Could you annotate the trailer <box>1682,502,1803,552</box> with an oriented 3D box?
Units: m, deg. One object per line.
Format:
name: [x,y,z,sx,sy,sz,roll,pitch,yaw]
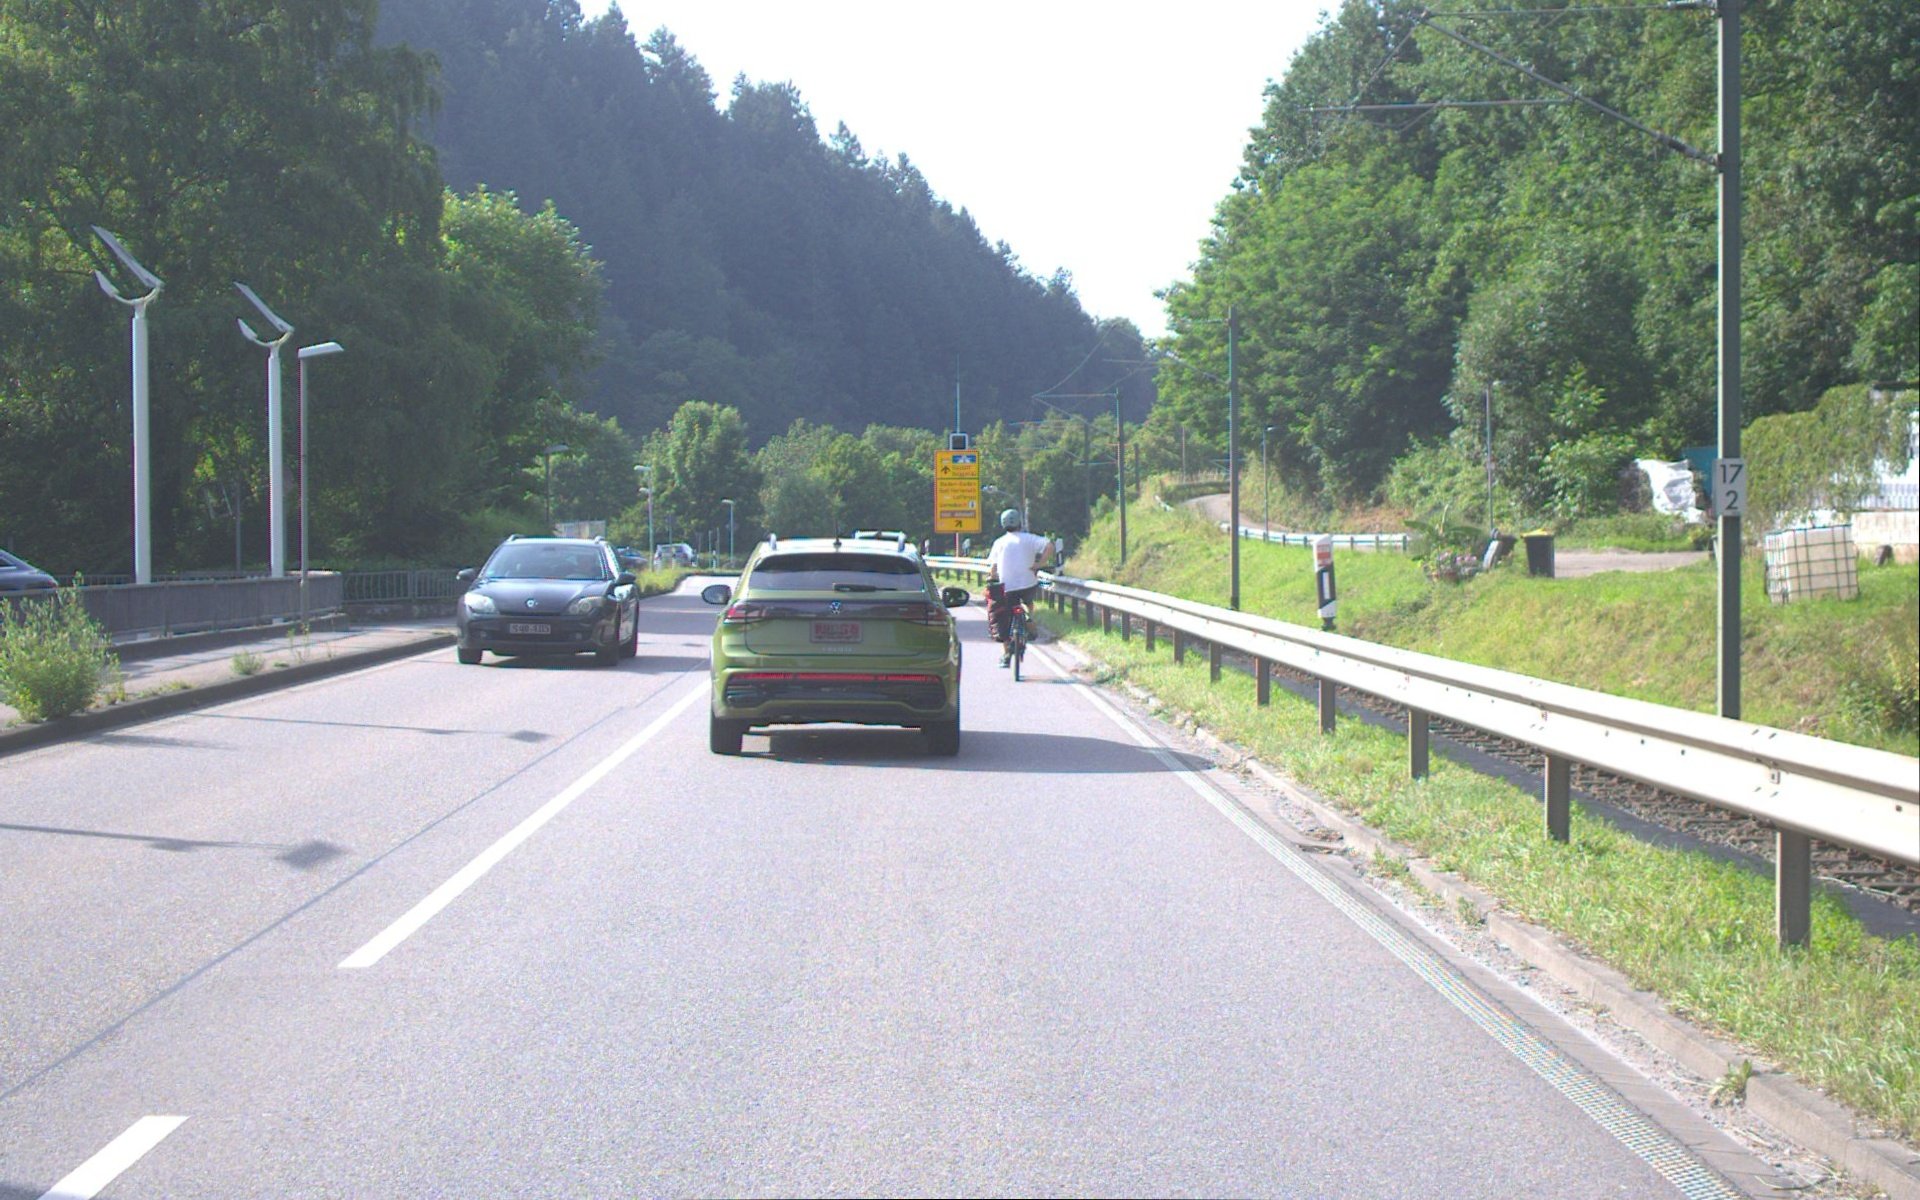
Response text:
trailer: [20.107,-1.865,88.464,2.066,1.188,3.715,1,0,-3]

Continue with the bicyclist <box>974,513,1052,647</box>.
bicyclist: [0.556,-0.220,36.423,0.781,1.407,0.675,0,1,-3]

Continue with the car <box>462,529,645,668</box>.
car: [-4.679,-0.057,40.075,1.677,1.480,4.246,2,1,-1]

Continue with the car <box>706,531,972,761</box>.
car: [-0.865,0.268,24.688,1.739,1.503,4.001,0,1,-2]

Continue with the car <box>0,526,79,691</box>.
car: [-10.498,0.077,31.749,1.996,1.556,4.847,1,1,24]

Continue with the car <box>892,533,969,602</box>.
car: [-0.732,-0.802,82.571,1.739,1.596,4.001,1,1,-2]

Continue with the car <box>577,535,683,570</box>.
car: [-13.742,-1.977,143.373,4.259,1.428,1.557,0,1,0]

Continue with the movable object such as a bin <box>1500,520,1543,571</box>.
movable object such as a bin: [12.196,-1.183,74.711,0.855,1.103,0.934,0,1,5]

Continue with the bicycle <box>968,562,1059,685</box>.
bicycle: [0.553,0.227,36.360,0.811,1.246,2.123,0,1,-3]

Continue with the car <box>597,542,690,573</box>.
car: [-15.101,-2.033,164.109,4.259,1.428,1.557,0,1,0]

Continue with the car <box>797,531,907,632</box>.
car: [-1.809,-0.339,57.426,1.739,1.596,4.001,1,1,-2]
